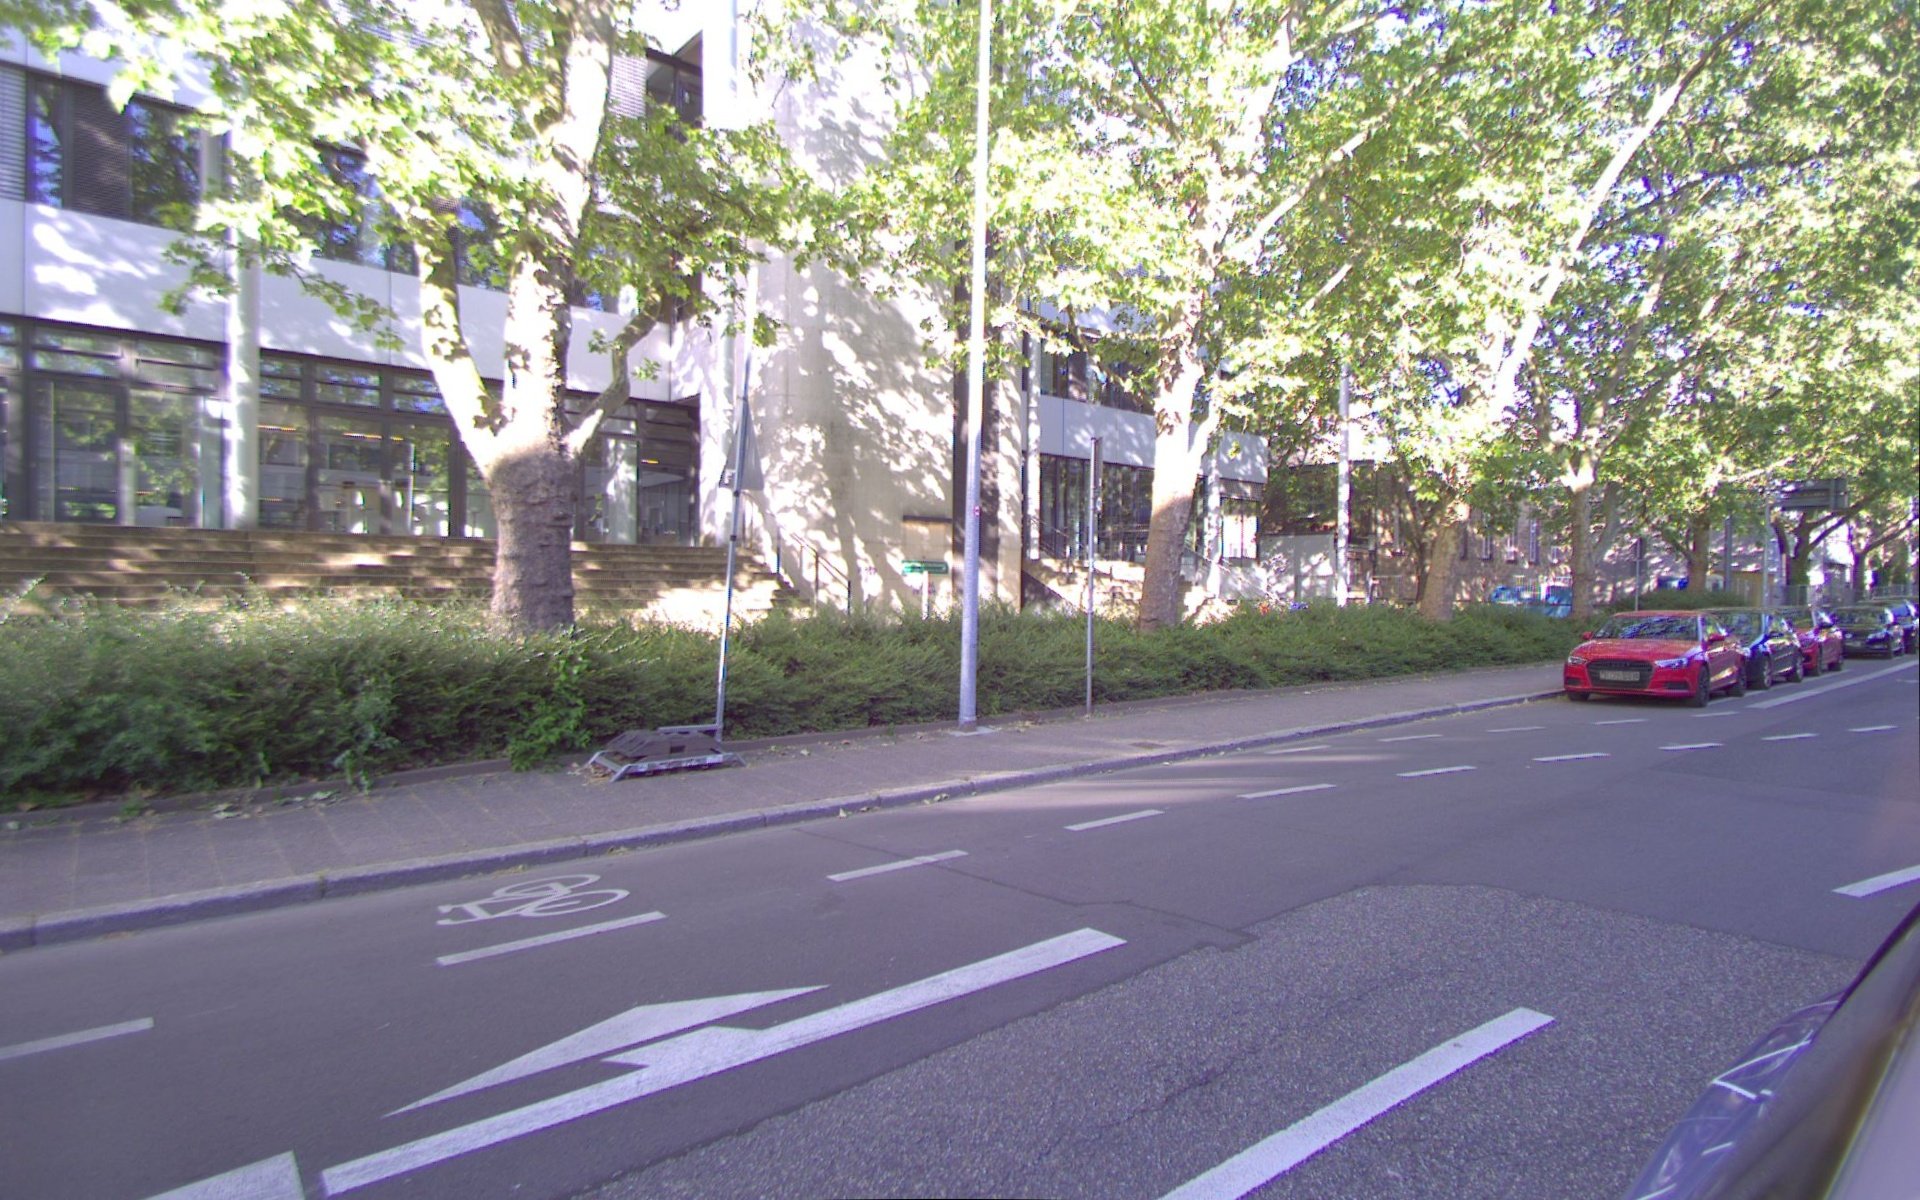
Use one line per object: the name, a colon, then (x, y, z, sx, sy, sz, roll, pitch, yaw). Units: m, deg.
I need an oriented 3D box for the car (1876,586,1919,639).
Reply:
car: (33.913, 0.399, 35.708, 4.403, 1.781, 1.865, 0, 0, -41)

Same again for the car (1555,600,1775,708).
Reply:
car: (11.326, 0.741, 16.149, 4.403, 1.469, 1.865, 0, 0, -41)

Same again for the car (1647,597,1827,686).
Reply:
car: (14.773, 0.695, 19.150, 4.403, 1.469, 1.865, 0, 0, -41)

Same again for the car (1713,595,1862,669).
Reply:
car: (18.441, 0.640, 22.487, 4.403, 1.469, 1.865, 0, 0, -41)

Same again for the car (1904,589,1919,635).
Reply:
car: (38.879, 0.449, 39.978, 4.403, 1.781, 1.865, 0, 0, -41)

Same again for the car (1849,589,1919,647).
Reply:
car: (29.576, 0.518, 31.817, 4.403, 1.689, 1.865, 0, 0, -41)

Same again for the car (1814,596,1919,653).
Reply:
car: (25.796, 0.625, 28.622, 4.403, 1.469, 1.865, 0, 0, -41)
